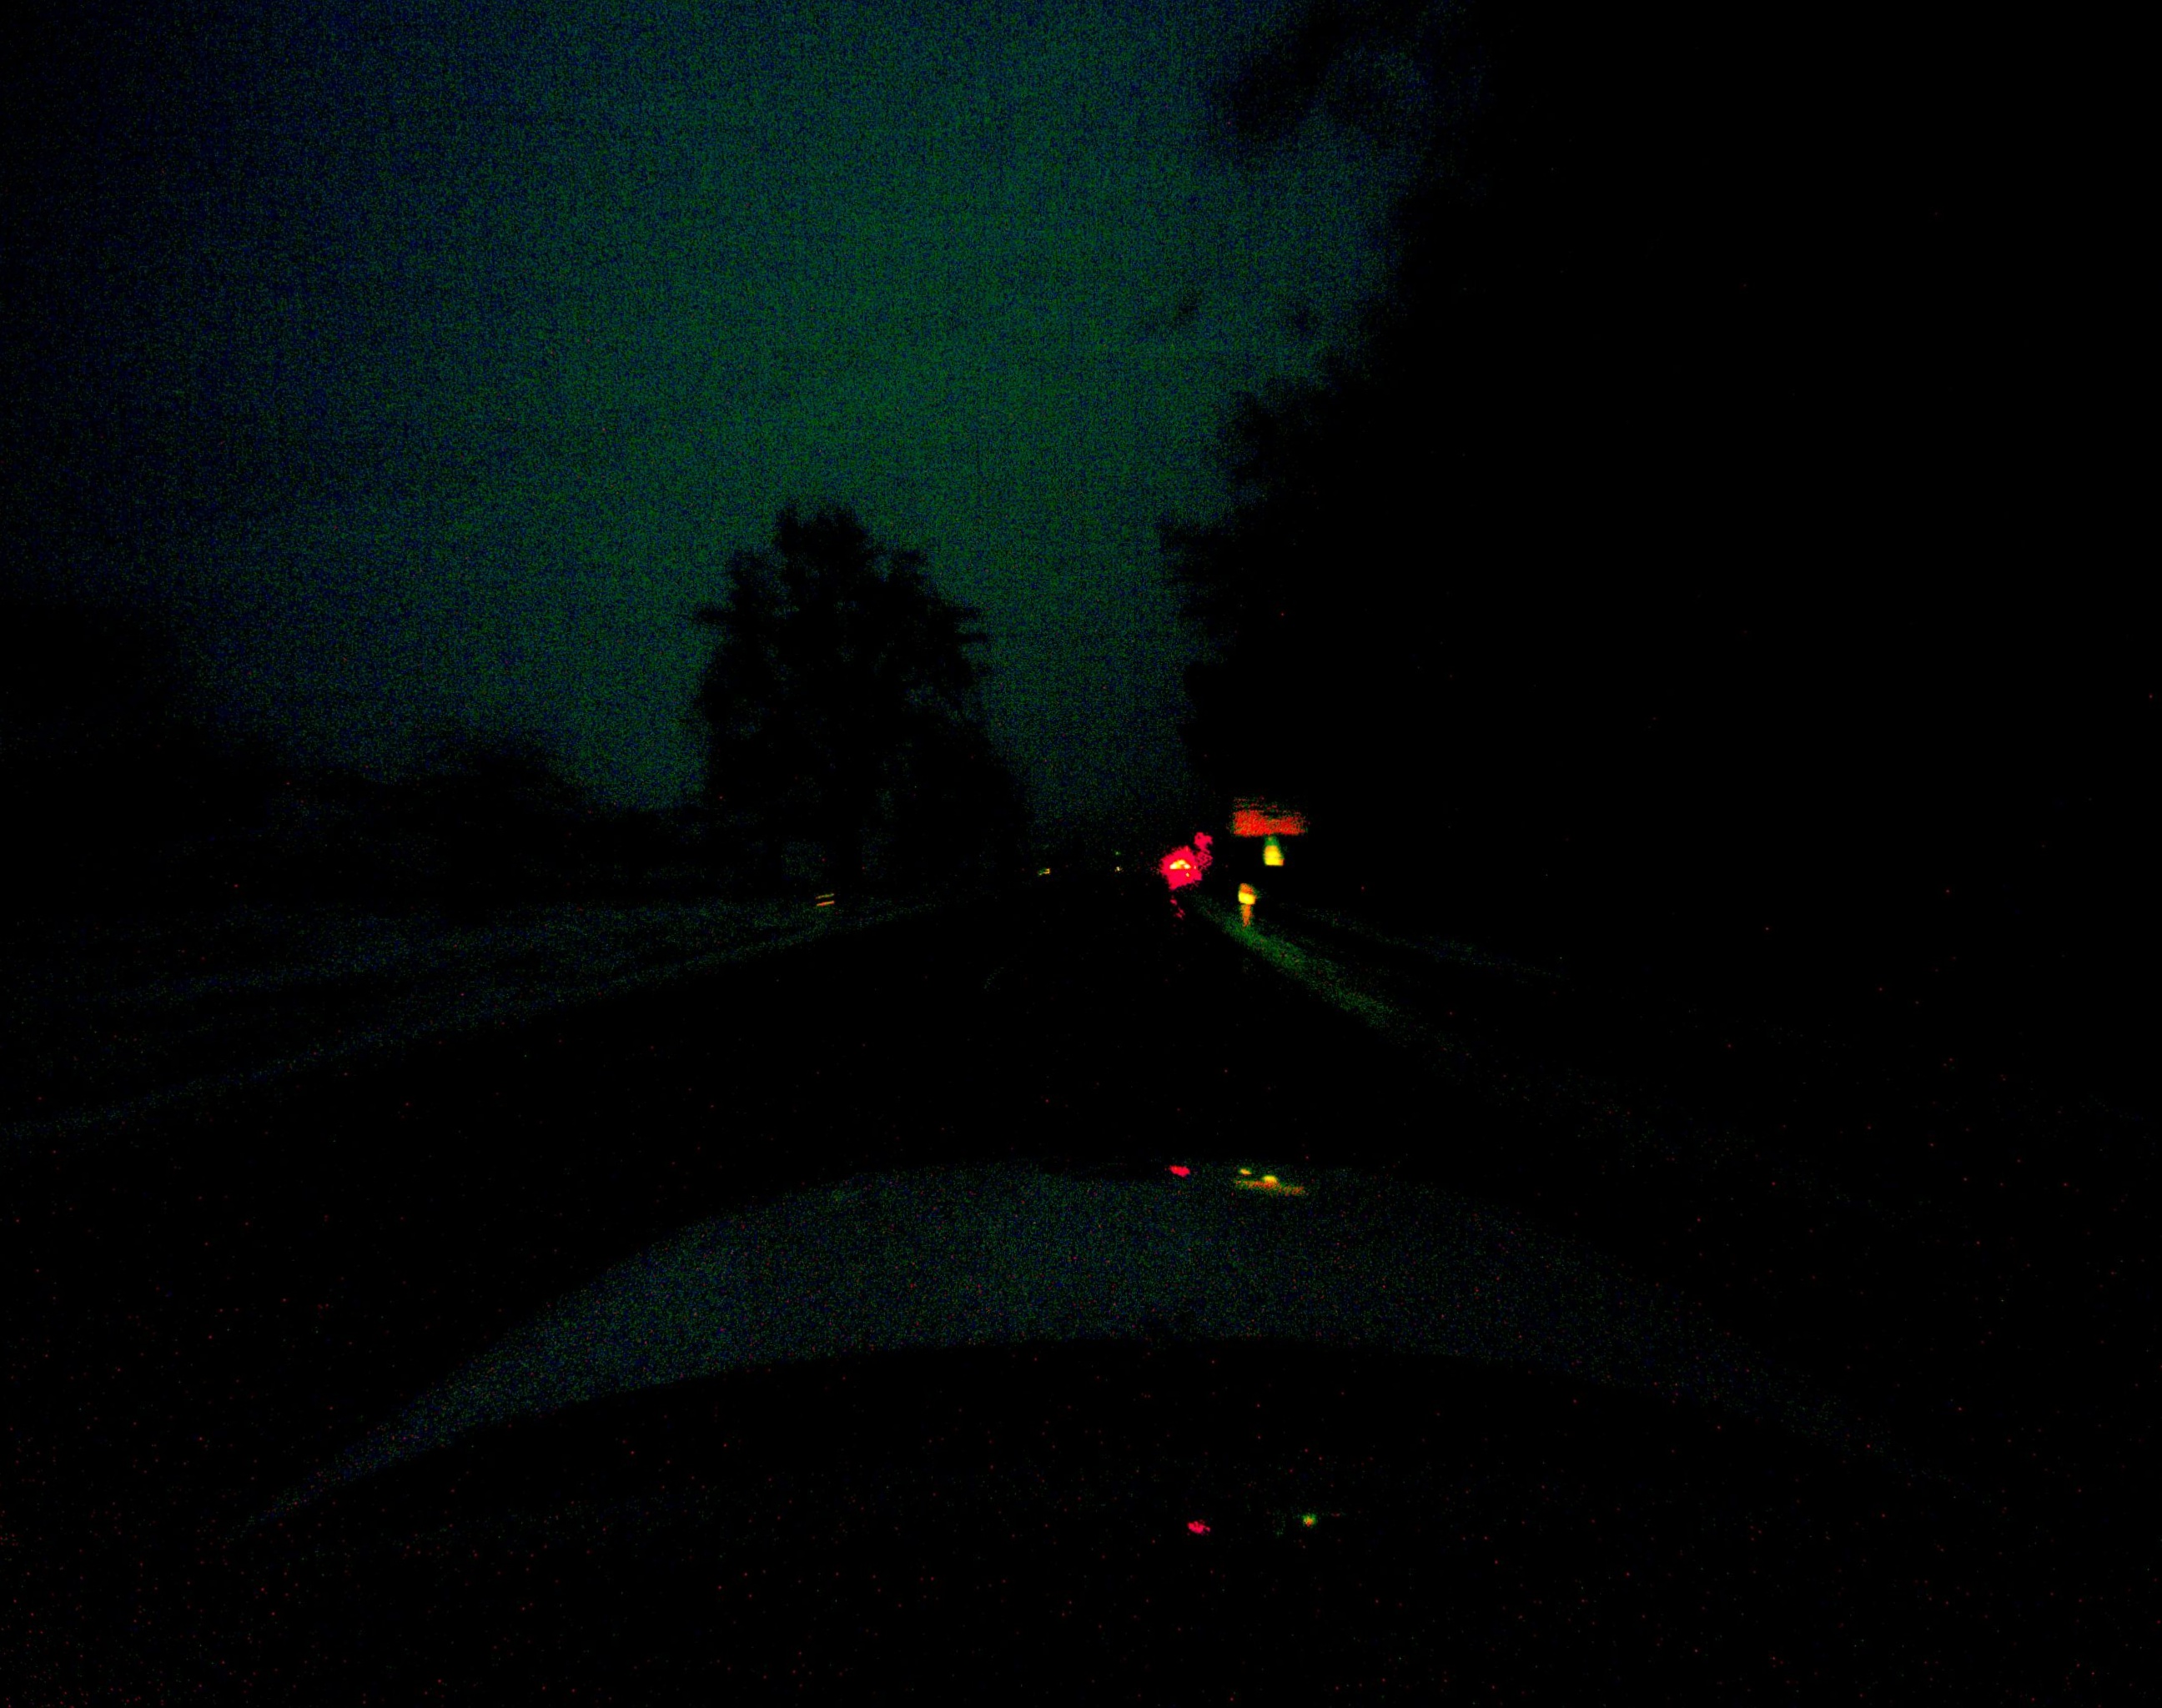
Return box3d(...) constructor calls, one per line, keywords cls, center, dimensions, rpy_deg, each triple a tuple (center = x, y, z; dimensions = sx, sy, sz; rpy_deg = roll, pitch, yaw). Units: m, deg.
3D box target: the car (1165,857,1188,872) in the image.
box3d(cls="car", center=(9.110, 0.977, 77.659), dimensions=(1.910, 1.276, 4.011), rpy_deg=(-1, 1, 10))
